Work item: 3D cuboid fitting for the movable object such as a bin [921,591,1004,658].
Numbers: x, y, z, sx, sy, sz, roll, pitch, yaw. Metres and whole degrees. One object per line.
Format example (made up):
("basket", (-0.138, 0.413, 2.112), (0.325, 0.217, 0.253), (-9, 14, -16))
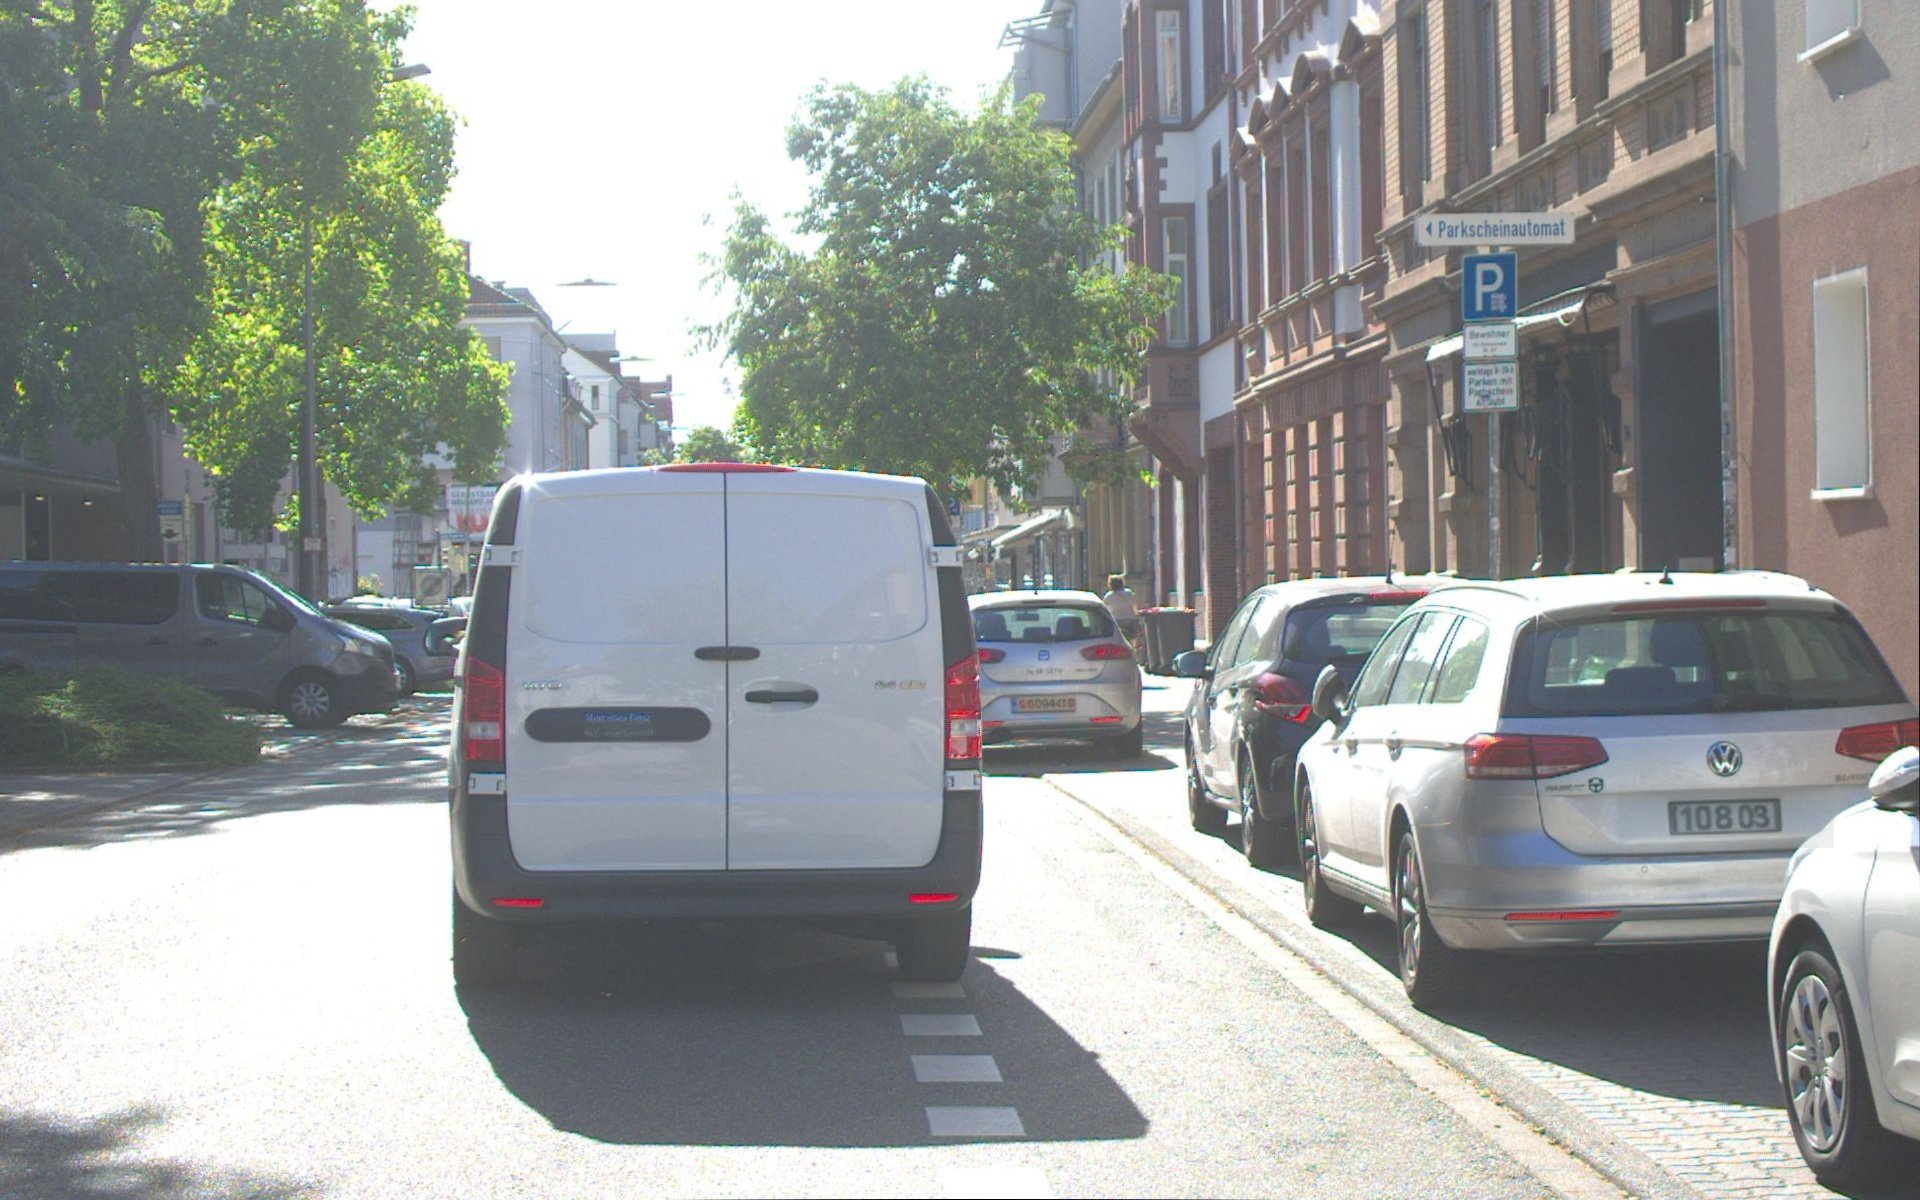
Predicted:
("movable object such as a bin", (0.057, 0.503, 70.689), (1.108, 1.343, 1.268), (-1, 0, 45))

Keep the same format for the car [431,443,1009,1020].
("car", (-1.152, 0.420, 13.918), (1.920, 1.907, 4.889), (0, 0, -8))

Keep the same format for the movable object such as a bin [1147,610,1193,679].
("movable object such as a bin", (3.293, 0.696, 53.879), (0.638, 1.065, 0.639), (-1, 0, -4))

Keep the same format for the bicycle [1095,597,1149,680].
("bicycle", (2.386, 0.570, 50.700), (0.536, 1.145, 2.124), (-7, -1, -1))

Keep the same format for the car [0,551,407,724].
("car", (-9.379, 0.431, 41.009), (5.291, 1.967, 2.016), (1, 0, -3))

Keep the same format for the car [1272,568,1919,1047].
("car", (2.354, 0.641, 13.099), (1.785, 1.455, 4.517), (-2, 0, -1))

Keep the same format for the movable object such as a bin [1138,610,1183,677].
("movable object such as a bin", (3.203, 0.695, 55.031), (0.638, 1.065, 0.632), (-1, 0, -4))

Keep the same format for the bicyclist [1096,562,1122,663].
("bicyclist", (2.197, 0.184, 50.578), (0.361, 1.472, 0.530), (0, 0, 0))

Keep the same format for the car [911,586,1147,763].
("car", (0.547, 0.610, 30.643), (1.738, 1.446, 4.001), (-1, 0, -4))

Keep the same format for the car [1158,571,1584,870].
("car", (2.175, 0.599, 19.152), (1.709, 1.475, 3.711), (-1, 0, -3))

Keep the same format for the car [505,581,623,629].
("car", (-13.613, 0.166, 118.359), (3.986, 1.634, 2.000), (0, 0, -6))

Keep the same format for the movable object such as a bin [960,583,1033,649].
("movable object such as a bin", (0.764, 0.331, 71.917), (1.040, 1.343, 1.106), (-1, 0, 36))

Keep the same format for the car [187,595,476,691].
("car", (-10.034, 0.678, 55.121), (4.305, 1.455, 1.762), (1, 0, -1))

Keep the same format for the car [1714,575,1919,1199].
("car", (2.971, 0.671, 6.986), (1.731, 1.481, 3.795), (-2, 0, -4))
